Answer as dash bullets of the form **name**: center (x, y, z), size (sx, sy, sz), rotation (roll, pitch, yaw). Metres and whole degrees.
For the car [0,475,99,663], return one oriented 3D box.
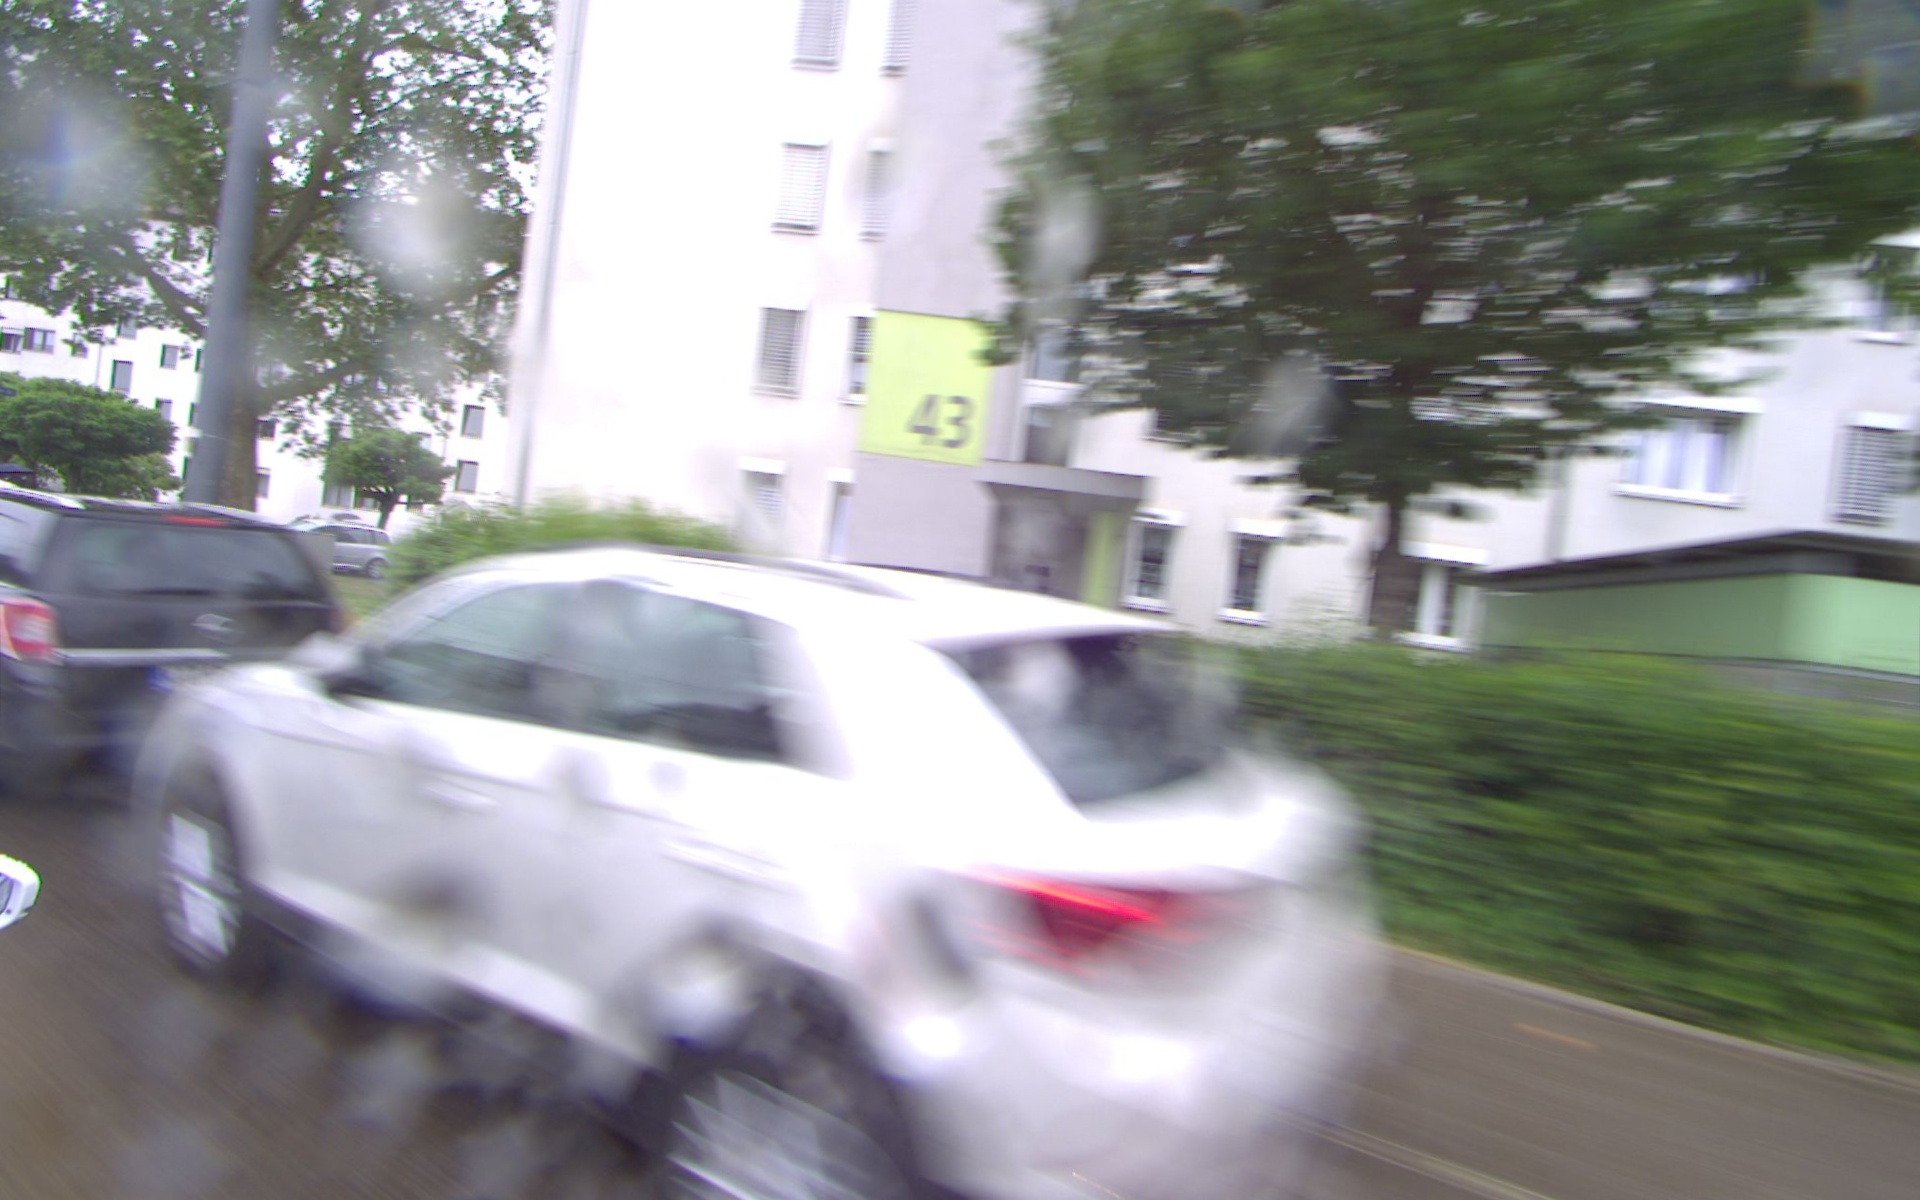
- **car**: center (-9.680, -0.481, 9.198), size (3.933, 1.538, 1.560), rotation (8, 1, 32)

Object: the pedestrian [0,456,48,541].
- **pedestrian**: center (-22.302, -2.407, 23.617), size (1.414, 1.836, 1.097), rotation (8, 1, 44)

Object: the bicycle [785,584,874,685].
- **bicycle**: center (-1.651, 0.436, 13.028), size (0.523, 1.155, 1.862), rotation (8, 0, 8)

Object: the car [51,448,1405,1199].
- **car**: center (-0.936, 0.548, 3.313), size (4.043, 1.595, 1.902), rotation (8, 1, 31)

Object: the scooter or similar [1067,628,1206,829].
- **scooter or similar**: center (1.284, 0.911, 7.578), size (0.467, 1.278, 1.323), rotation (7, 1, -10)

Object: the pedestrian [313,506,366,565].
- **pedestrian**: center (-20.865, -2.168, 33.839), size (0.709, 1.790, 1.179), rotation (8, 1, 31)

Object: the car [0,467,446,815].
- **car**: center (-5.279, 0.011, 6.084), size (4.114, 1.467, 1.902), rotation (8, 1, 31)

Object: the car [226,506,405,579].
- **car**: center (-20.236, -1.770, 31.750), size (1.842, 1.701, 4.293), rotation (7, 0, 35)
